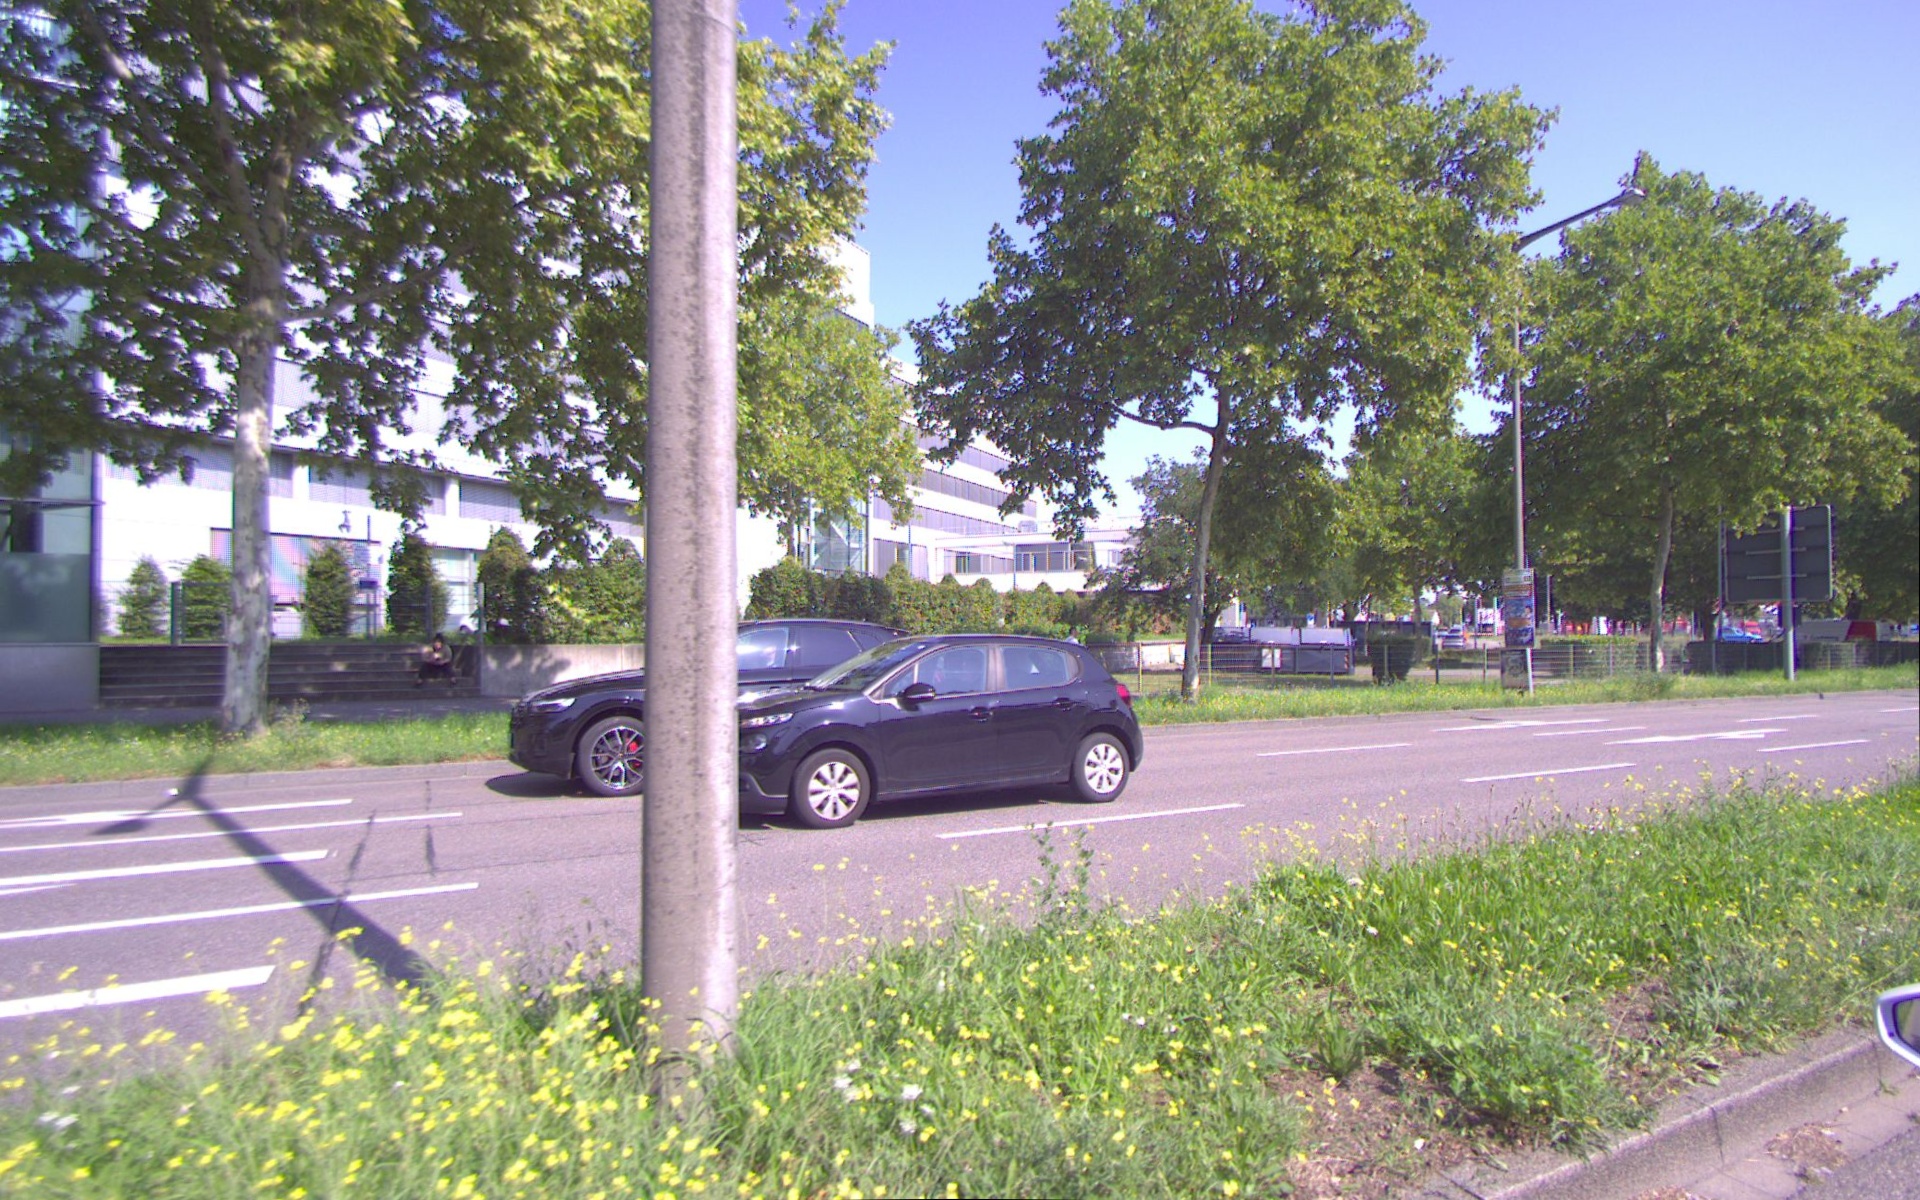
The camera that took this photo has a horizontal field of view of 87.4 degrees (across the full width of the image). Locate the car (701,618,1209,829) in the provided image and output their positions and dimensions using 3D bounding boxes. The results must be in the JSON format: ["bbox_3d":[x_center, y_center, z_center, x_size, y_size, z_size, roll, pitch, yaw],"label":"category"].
[{"bbox_3d":[0.004,0.987,8.989,4.258,1.509,1.699,1,-5,-28],"label":"car"}]

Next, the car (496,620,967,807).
[{"bbox_3d":[-2.348,1.046,10.646,4.554,1.626,1.838,1,-1,-29],"label":"car"}]

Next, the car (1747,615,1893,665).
[{"bbox_3d":[45.988,2.074,53.865,2.251,2.368,5.559,-2,1,-29],"label":"car"}]

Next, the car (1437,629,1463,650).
[{"bbox_3d":[41.428,3.317,84.889,1.896,1.472,3.995,-1,1,26],"label":"car"}]

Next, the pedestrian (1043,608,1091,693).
[{"bbox_3d":[2.722,1.258,25.427,0.995,2.041,1.268,-1,1,15],"label":"pedestrian"}]

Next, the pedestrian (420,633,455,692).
[{"bbox_3d":[-10.741,1.270,20.635,0.556,1.124,0.731,-2,1,-32],"label":"pedestrian"}]

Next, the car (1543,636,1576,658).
[{"bbox_3d":[48.036,3.753,80.548,1.896,1.472,3.995,-1,1,26],"label":"car"}]
